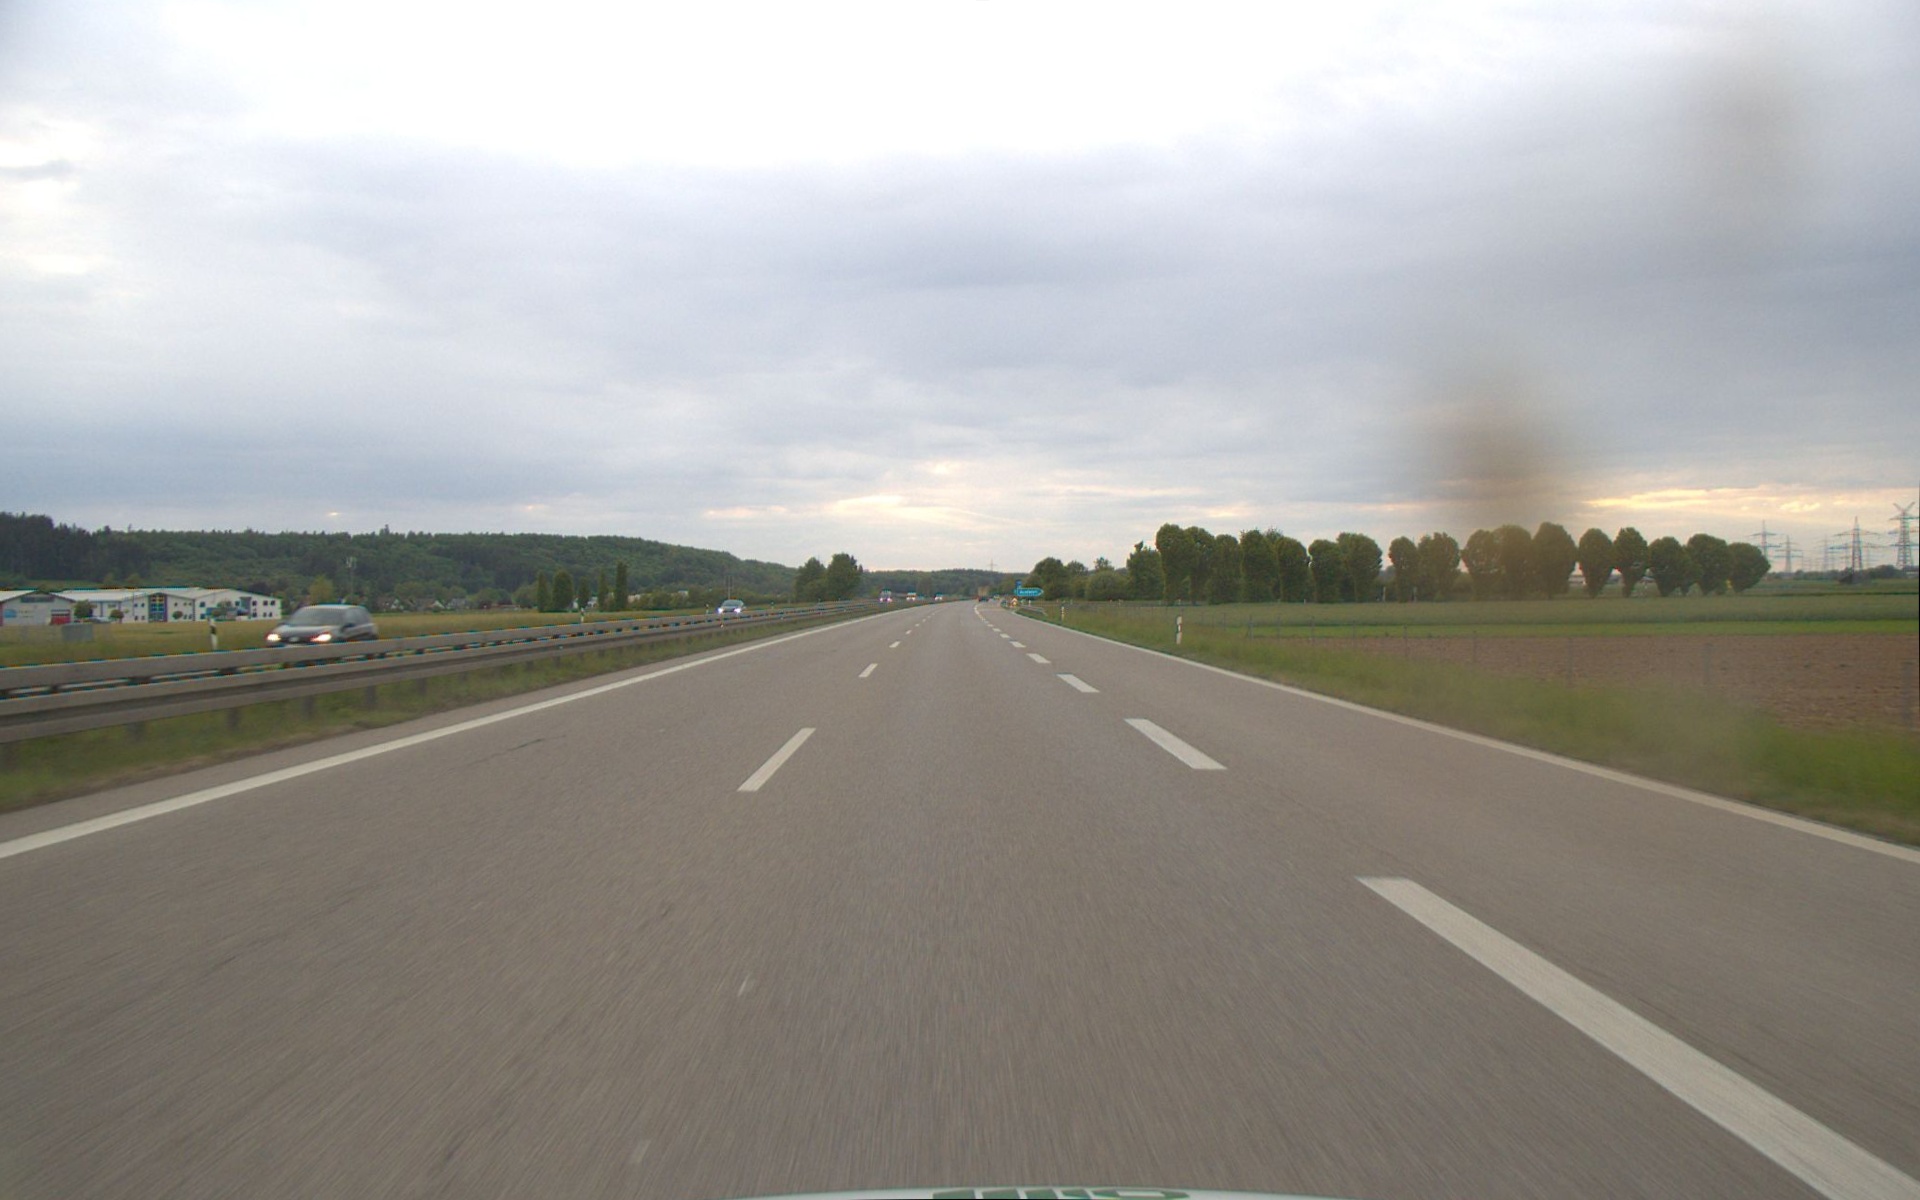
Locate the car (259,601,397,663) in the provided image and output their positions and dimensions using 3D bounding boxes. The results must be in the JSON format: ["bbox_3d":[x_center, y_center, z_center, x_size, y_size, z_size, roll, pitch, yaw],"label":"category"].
[{"bbox_3d":[-16.630,0.807,43.765,1.953,1.506,4.451,1,0,-1],"label":"car"}]

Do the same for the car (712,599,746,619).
[{"bbox_3d":[-17.381,0.691,124.532,1.953,1.441,4.523,1,0,0],"label":"car"}]
